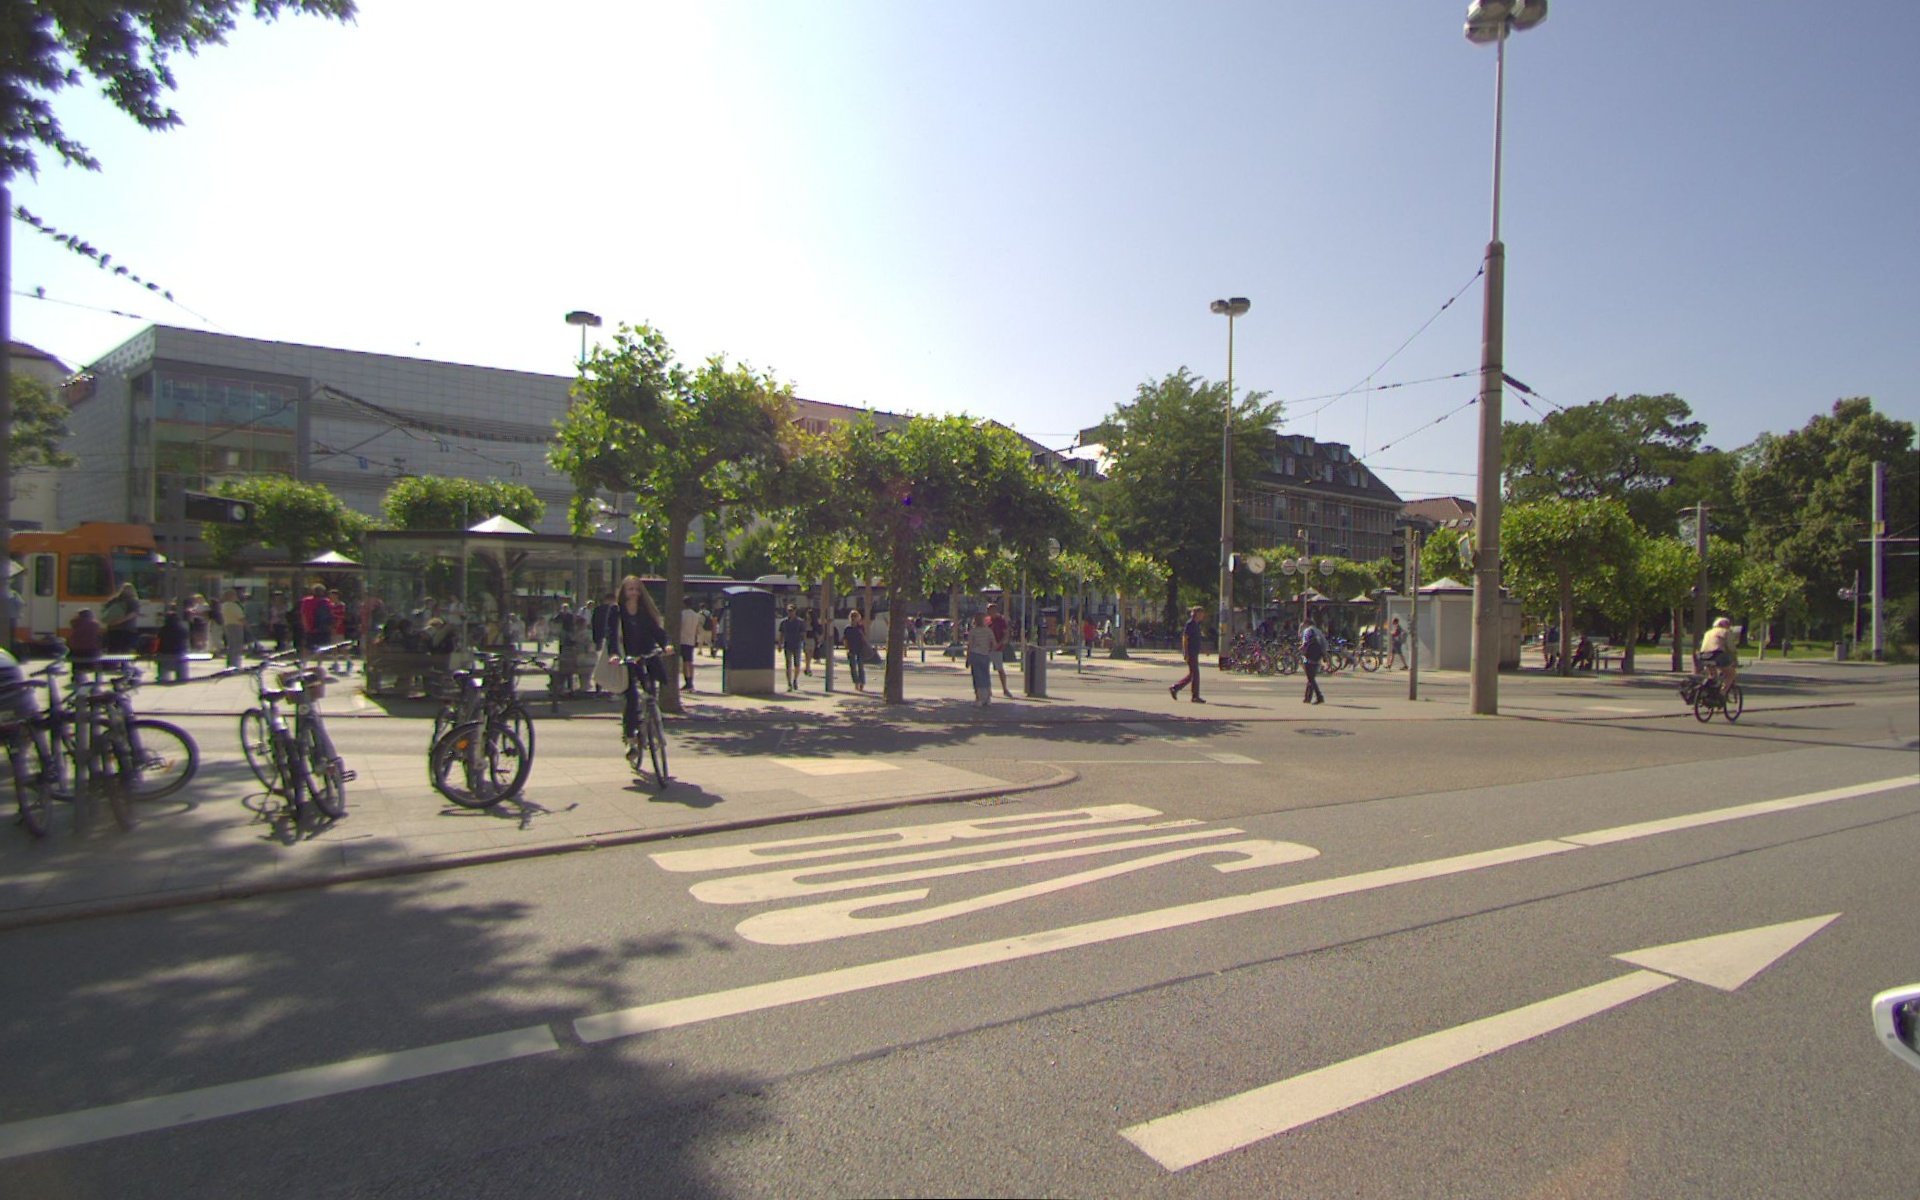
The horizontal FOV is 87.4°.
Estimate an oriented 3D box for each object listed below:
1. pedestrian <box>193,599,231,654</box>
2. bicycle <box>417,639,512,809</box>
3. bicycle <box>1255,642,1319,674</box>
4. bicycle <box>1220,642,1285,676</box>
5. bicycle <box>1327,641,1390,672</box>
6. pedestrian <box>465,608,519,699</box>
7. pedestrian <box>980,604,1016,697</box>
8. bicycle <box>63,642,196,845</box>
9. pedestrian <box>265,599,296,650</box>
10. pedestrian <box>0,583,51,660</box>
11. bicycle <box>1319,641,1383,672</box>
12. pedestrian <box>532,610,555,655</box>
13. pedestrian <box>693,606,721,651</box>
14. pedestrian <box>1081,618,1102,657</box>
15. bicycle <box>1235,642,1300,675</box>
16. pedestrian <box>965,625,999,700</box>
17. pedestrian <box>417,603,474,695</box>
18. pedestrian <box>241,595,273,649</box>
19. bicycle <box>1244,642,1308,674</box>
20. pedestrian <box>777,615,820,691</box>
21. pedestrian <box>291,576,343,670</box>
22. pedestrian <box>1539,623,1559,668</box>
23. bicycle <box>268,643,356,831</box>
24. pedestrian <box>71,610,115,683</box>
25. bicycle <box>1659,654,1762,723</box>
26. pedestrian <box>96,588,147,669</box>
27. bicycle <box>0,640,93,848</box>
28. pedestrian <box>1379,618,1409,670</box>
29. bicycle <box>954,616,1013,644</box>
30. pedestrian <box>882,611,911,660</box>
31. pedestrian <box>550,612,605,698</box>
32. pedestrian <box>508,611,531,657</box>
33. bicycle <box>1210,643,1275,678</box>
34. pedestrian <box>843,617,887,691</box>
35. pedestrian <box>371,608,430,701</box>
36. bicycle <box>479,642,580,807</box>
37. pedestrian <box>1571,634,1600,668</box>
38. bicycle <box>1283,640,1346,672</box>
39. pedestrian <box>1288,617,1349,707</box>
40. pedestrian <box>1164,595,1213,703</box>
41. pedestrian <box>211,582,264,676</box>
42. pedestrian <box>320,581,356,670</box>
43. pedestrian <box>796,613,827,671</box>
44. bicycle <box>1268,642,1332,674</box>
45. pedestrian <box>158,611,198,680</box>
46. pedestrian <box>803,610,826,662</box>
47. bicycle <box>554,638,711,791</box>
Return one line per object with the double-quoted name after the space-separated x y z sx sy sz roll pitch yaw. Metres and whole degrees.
-21.777 0.773 29.265 0.667 1.569 0.578 -1 -2 -5 "pedestrian"
-4.028 0.927 8.109 0.477 1.162 1.742 1 0 -33 "bicycle"
10.307 1.819 31.724 0.543 0.868 1.846 1 2 -43 "bicycle"
8.930 1.786 30.701 0.579 0.883 1.846 1 2 -43 "bicycle"
13.198 1.848 33.273 0.578 0.881 1.846 1 2 -43 "bicycle"
-7.786 0.885 16.740 0.668 1.484 0.624 -1 -2 -11 "pedestrian"
0.756 0.988 19.714 0.667 1.768 0.625 -1 -2 3 "pedestrian"
-5.709 0.911 6.975 0.477 1.162 1.742 1 0 -33 "bicycle"
-21.061 0.767 31.149 0.669 1.569 0.577 -2 -2 32 "pedestrian"
-19.328 0.446 20.725 0.568 1.569 0.679 -1 -2 -11 "pedestrian"
12.788 1.839 32.872 0.578 0.881 1.846 1 2 -43 "bicycle"
-13.742 1.070 33.108 0.671 1.484 0.621 0 -2 -26 "pedestrian"
-8.512 0.967 33.856 0.613 1.484 0.680 -2 -2 25 "pedestrian"
5.103 1.455 38.910 0.667 1.484 0.625 -2 -2 21 "pedestrian"
9.463 1.794 30.976 0.543 0.868 1.846 1 2 -43 "bicycle"
0.389 1.071 17.367 0.543 1.250 0.578 1 0 3 "pedestrian"
-8.518 0.807 16.655 0.668 1.484 0.727 -1 -2 -10 "pedestrian"
-21.026 0.663 30.041 0.669 1.569 0.577 -2 -2 32 "pedestrian"
9.854 1.797 31.375 0.543 0.868 1.846 1 2 -43 "bicycle"
-3.231 1.057 20.068 0.673 1.484 0.620 0 -2 -31 "pedestrian"
-12.487 0.449 19.530 0.668 1.801 0.577 -1 -2 -11 "pedestrian"
21.518 1.662 36.692 0.566 1.630 0.602 -2 -2 30 "pedestrian"
-4.858 0.947 7.552 0.477 1.162 1.849 1 0 -33 "bicycle"
-15.064 0.804 17.448 0.550 1.250 0.571 1 -3 -43 "pedestrian"
13.210 1.531 17.668 1.853 1.135 0.813 1 -3 -32 "bicycle"
-16.589 0.562 19.886 0.649 1.569 0.569 0 -2 -29 "pedestrian"
-6.196 0.877 6.609 0.477 1.162 1.742 1 0 -33 "bicycle"
14.815 1.502 34.257 0.740 1.751 0.836 -2 -2 36 "pedestrian"
1.247 1.610 53.970 3.092 1.397 0.821 2 1 -1 "bicycle"
-1.918 1.075 30.413 0.667 1.437 0.625 -2 -2 21 "pedestrian"
-6.742 0.967 17.721 0.612 1.484 0.681 -1 -2 15 "pedestrian"
-14.260 1.105 32.496 0.671 1.484 0.621 0 -2 -26 "pedestrian"
8.489 1.804 30.232 0.543 0.868 1.846 1 2 -43 "bicycle"
-1.957 1.097 20.653 0.673 1.484 0.620 0 -2 -31 "pedestrian"
-9.214 0.894 16.567 0.668 1.484 0.624 -1 -2 -11 "pedestrian"
-3.619 0.966 8.372 0.477 1.162 1.742 1 0 -33 "bicycle"
23.112 1.879 37.136 0.746 1.263 0.670 1 -2 -37 "pedestrian"
11.491 1.796 32.569 0.578 0.881 1.846 1 2 -43 "bicycle"
6.941 1.177 19.463 0.675 1.680 0.884 1 -1 -40 "pedestrian"
4.389 0.935 19.273 0.877 2.034 0.681 -1 -2 15 "pedestrian"
-14.533 0.583 20.215 0.668 1.865 0.577 -1 -2 -11 "pedestrian"
-12.843 0.529 20.762 0.571 1.801 0.676 0 -2 -28 "pedestrian"
-3.829 1.080 25.891 0.667 1.484 0.625 -1 -2 3 "pedestrian"
10.813 1.822 31.992 0.543 0.868 1.846 1 2 -43 "bicycle"
-14.092 0.825 18.106 0.523 1.218 0.538 1 -3 -43 "pedestrian"
-4.436 1.092 30.557 0.523 1.573 0.597 0 -2 -28 "pedestrian"
-3.092 0.954 9.265 0.822 1.036 2.604 1 1 -31 "bicycle"
